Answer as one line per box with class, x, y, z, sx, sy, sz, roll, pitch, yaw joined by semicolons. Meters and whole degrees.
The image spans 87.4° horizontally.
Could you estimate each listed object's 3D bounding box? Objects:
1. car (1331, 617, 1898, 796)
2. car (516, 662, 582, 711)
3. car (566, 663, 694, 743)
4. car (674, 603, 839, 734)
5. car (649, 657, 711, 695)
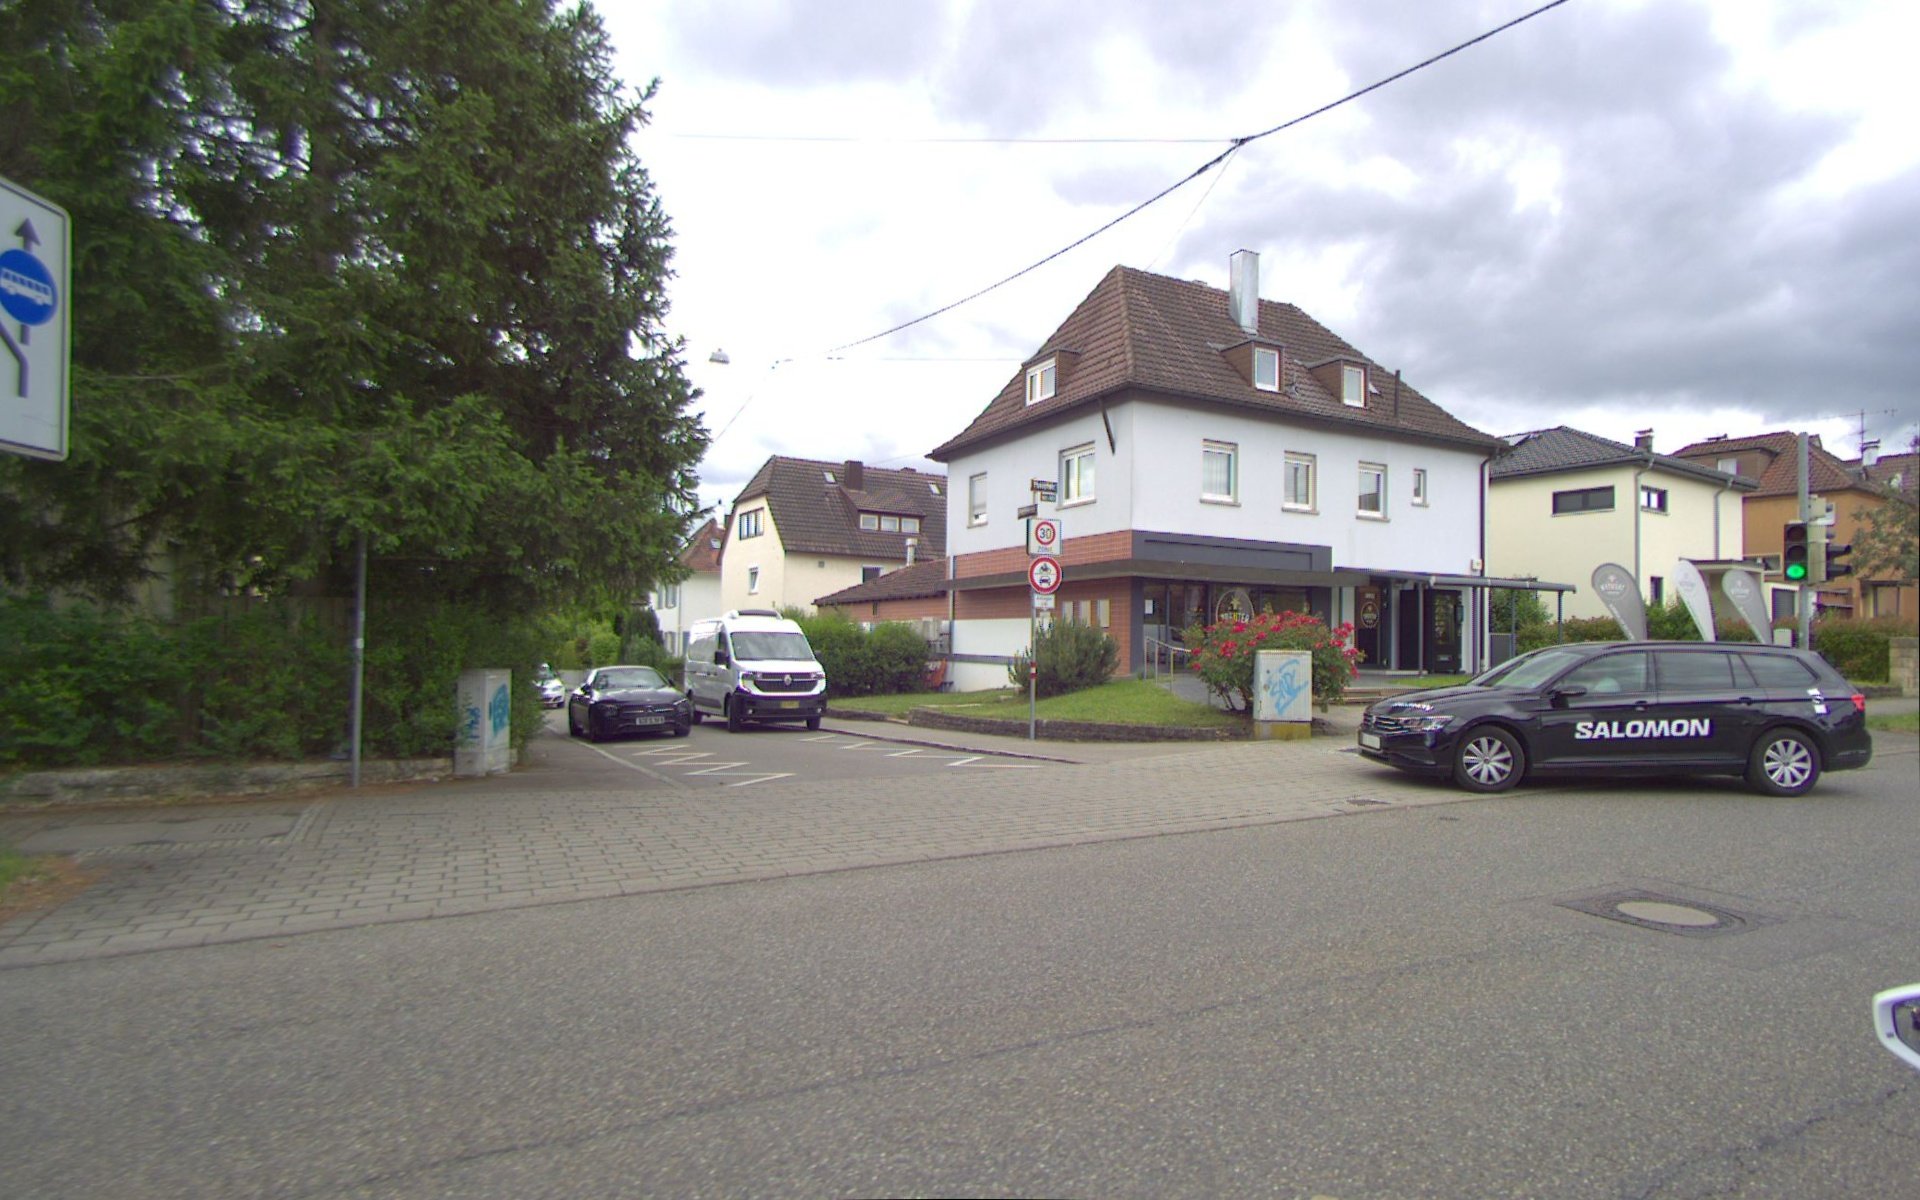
car;6.499;1.037;10.459;4.555;1.642;2.001;0;-2;2
car;-14.286;2.946;34.802;1.692;1.541;3.429;1;-3;-29
car;-6.778;2.027;20.361;1.775;1.371;4.105;0;-4;-28
car;-4.781;1.568;22.888;2.104;2.596;5.583;3;-5;-28
car;-12.280;3.271;43.922;1.789;1.541;3.722;1;-3;-29
